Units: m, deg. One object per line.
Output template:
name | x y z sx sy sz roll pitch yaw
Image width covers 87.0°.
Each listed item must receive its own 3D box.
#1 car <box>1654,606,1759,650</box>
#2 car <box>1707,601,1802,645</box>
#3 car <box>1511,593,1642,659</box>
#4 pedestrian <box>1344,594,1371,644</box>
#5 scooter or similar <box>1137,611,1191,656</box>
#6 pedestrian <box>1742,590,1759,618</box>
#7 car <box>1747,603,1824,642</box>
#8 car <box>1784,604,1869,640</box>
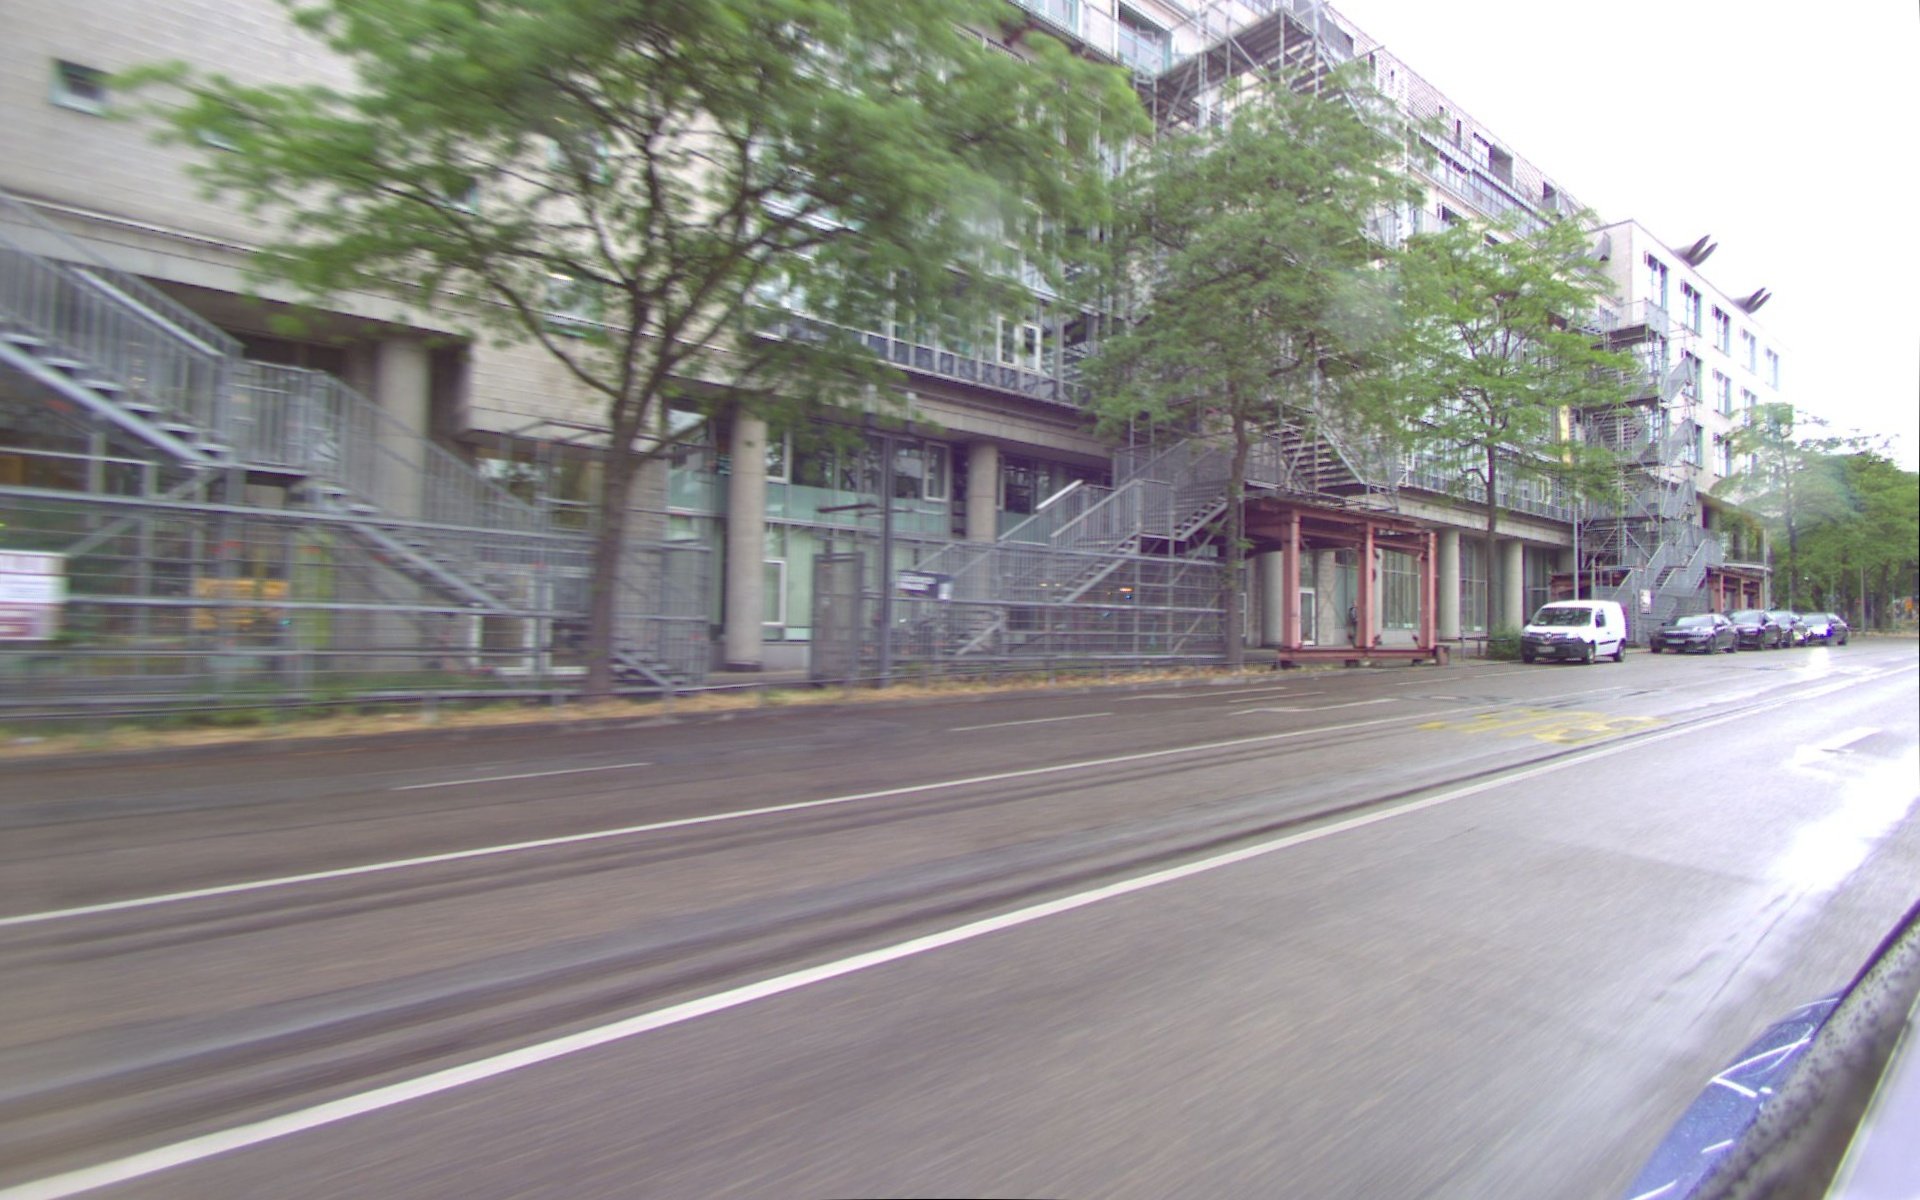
car | 26.954 0.981 36.500 4.831 1.456 1.873 1 -1 -39
car | 32.061 0.888 40.802 4.773 1.667 1.998 1 -1 -39
car | 17.915 0.706 29.322 4.447 1.772 1.997 1 -1 -41
pedestrian | 14.281 0.684 36.360 0.641 1.764 0.678 1 -1 -38
scooter or similar | 5.495 0.892 27.256 1.520 1.176 0.632 1 -1 -41
pedestrian | 57.750 0.295 73.897 0.746 2.039 0.869 1 -2 -45
car | 36.093 0.953 44.210 4.512 1.621 1.864 1 -1 -41
car | 40.817 1.011 47.633 5.191 1.621 1.999 1 -1 -38
